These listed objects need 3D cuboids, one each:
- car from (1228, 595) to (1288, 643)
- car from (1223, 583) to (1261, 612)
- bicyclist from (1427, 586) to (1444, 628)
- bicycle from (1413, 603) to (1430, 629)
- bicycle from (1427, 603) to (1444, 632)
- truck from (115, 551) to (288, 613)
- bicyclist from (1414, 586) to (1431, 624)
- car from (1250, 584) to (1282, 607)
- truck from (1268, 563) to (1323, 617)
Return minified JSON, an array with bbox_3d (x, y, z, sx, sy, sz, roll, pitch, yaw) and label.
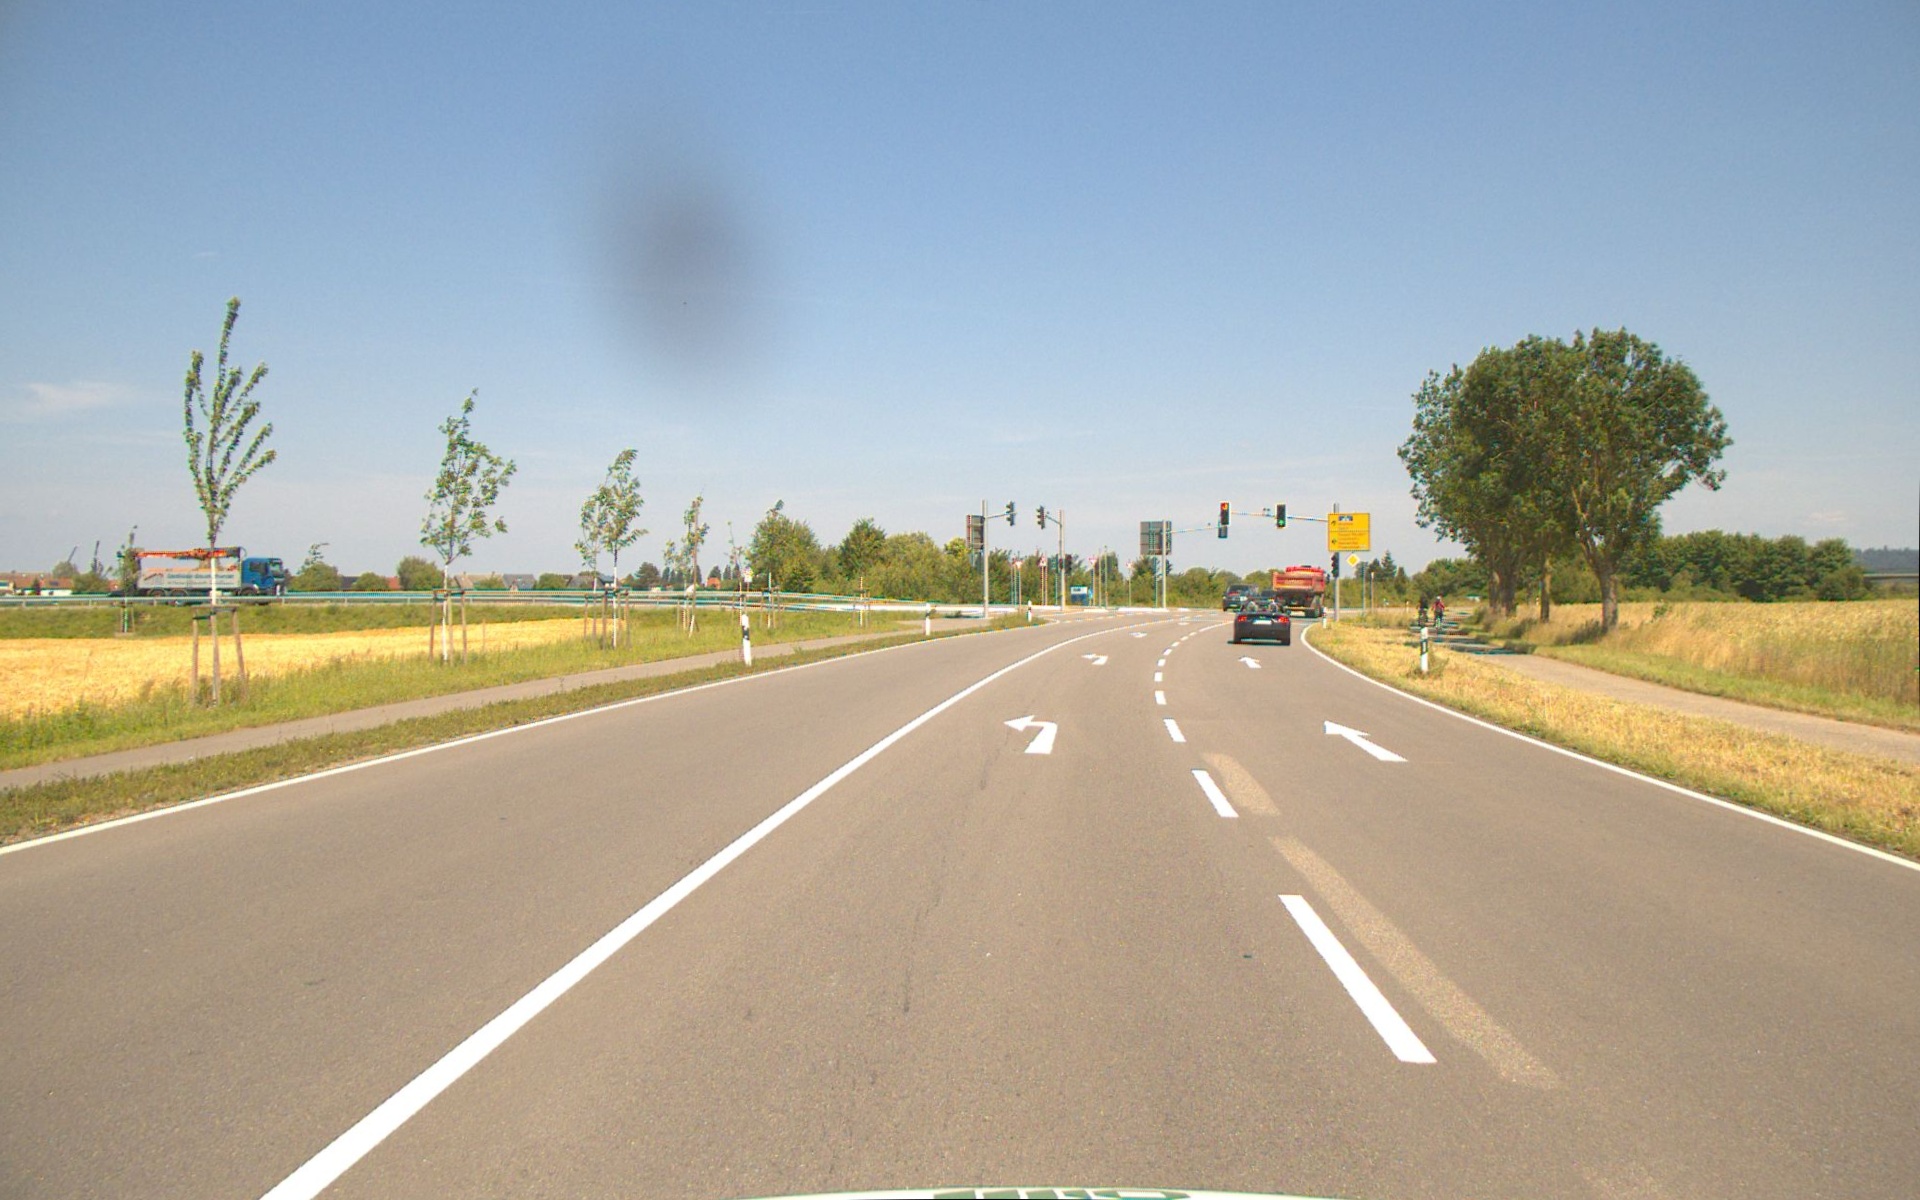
[{"bbox_3d":[9.234,0.600,51.101,1.710,1.400,3.682,2,-1,11],"label":"car"},{"bbox_3d":[20.382,-0.203,119.537,1.891,2.012,4.685,1,1,20],"label":"car"},{"bbox_3d":[21.451,0.321,74.563,0.615,1.813,0.978,4,2,16],"label":"bicyclist"},{"bbox_3d":[22.089,0.764,79.116,0.593,1.197,2.051,4,1,20],"label":"bicycle"},{"bbox_3d":[21.441,0.778,74.600,0.684,1.231,2.052,3,0,16],"label":"bicycle"},{"bbox_3d":[-48.653,-1.139,106.244,9.874,3.859,2.626,1,0,-1],"label":"truck"},{"bbox_3d":[22.140,0.243,79.174,0.575,1.764,1.172,5,2,20],"label":"bicyclist"},{"bbox_3d":[24.013,-0.381,129.531,1.890,1.770,4.892,1,1,17],"label":"car"},{"bbox_3d":[20.656,-0.565,101.417,2.656,3.106,8.169,0,-1,16],"label":"truck"}]
